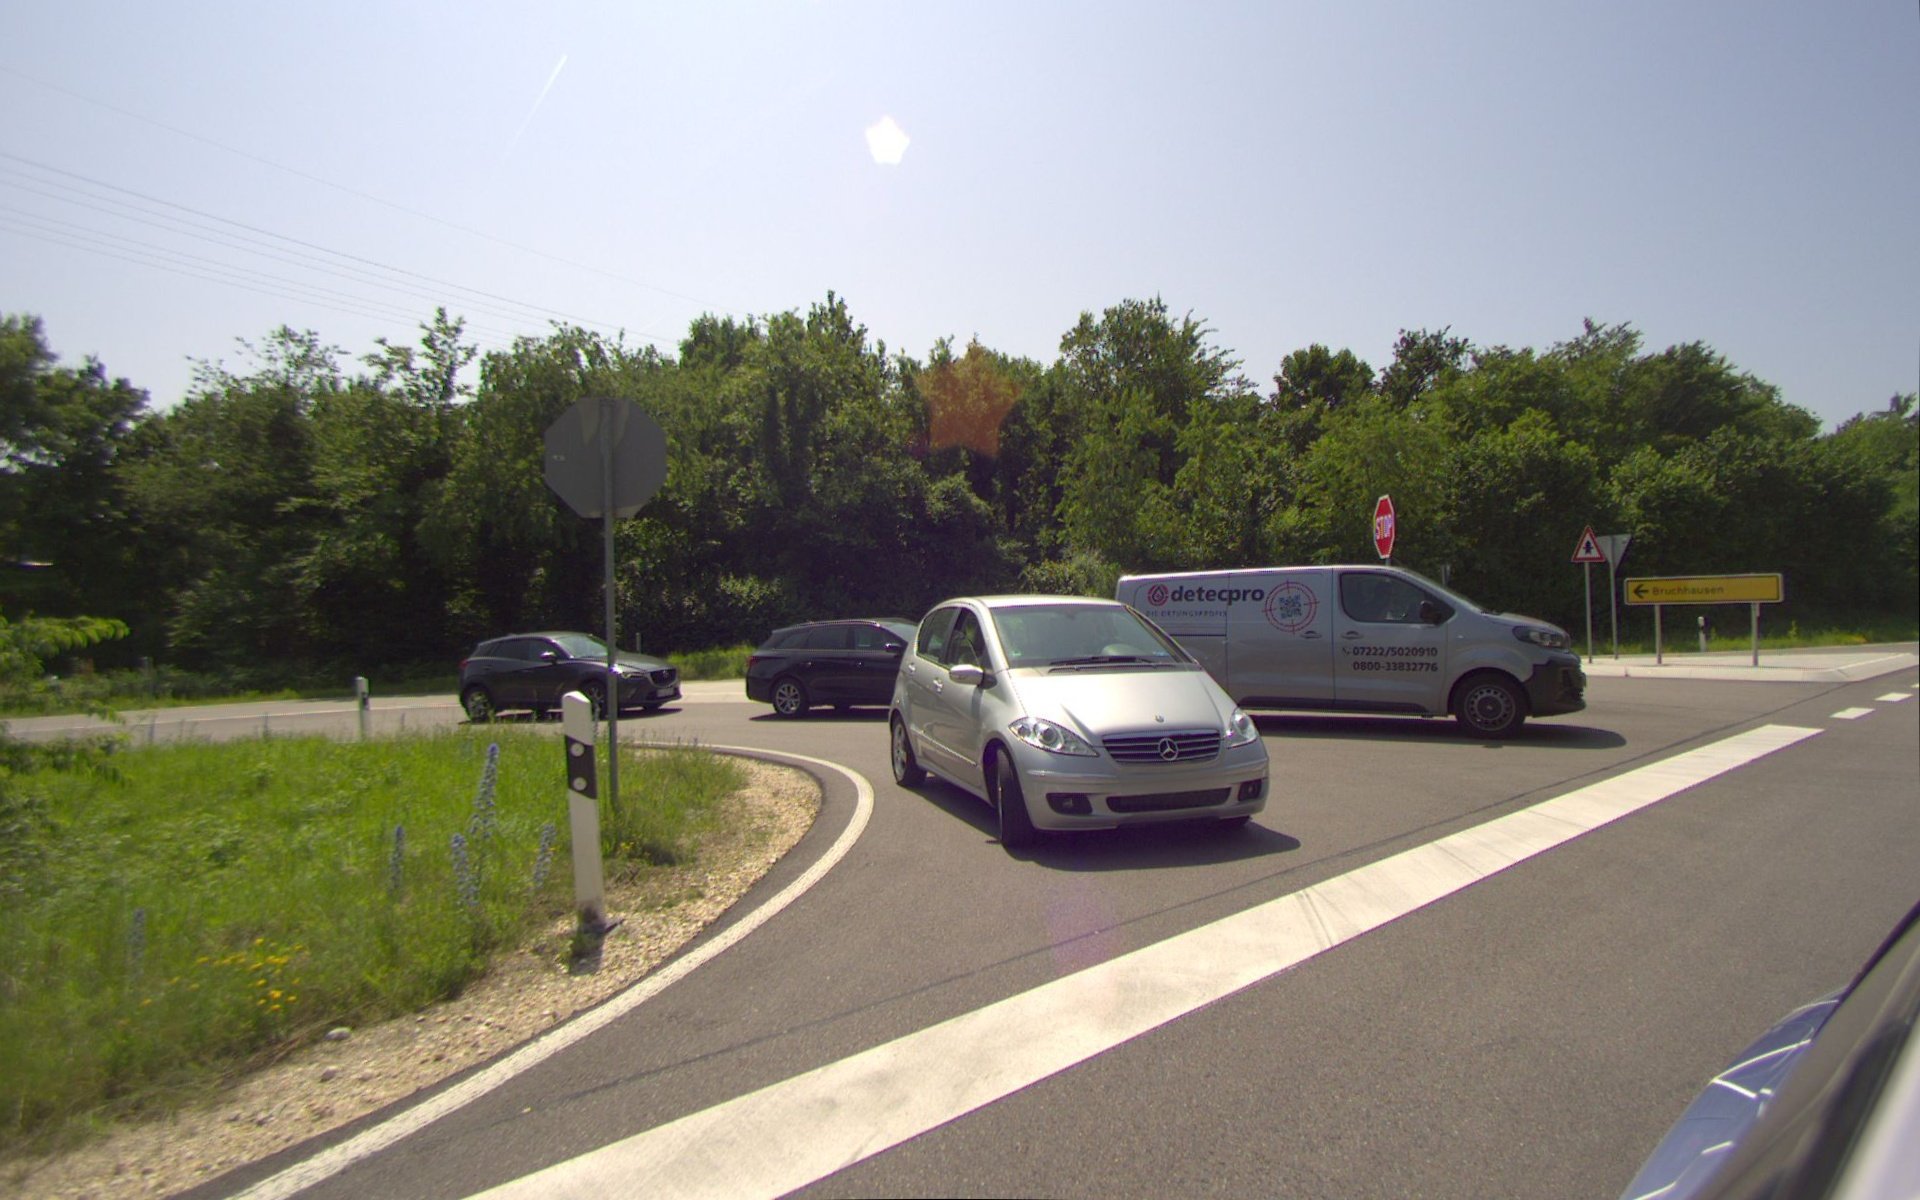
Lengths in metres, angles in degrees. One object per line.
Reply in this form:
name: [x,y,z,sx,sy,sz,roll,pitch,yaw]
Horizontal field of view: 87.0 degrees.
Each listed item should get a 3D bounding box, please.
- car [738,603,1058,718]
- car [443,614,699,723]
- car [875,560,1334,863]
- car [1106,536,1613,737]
car: [-0.985,0.935,15.320,4.521,1.493,1.850,-4,-2,29]
car: [-6.956,1.218,18.138,4.044,1.618,1.800,-4,0,20]
car: [0.733,0.656,7.721,1.807,1.600,4.001,-2,-1,-18]
car: [4.541,0.408,11.951,5.188,1.931,1.991,-2,0,32]
